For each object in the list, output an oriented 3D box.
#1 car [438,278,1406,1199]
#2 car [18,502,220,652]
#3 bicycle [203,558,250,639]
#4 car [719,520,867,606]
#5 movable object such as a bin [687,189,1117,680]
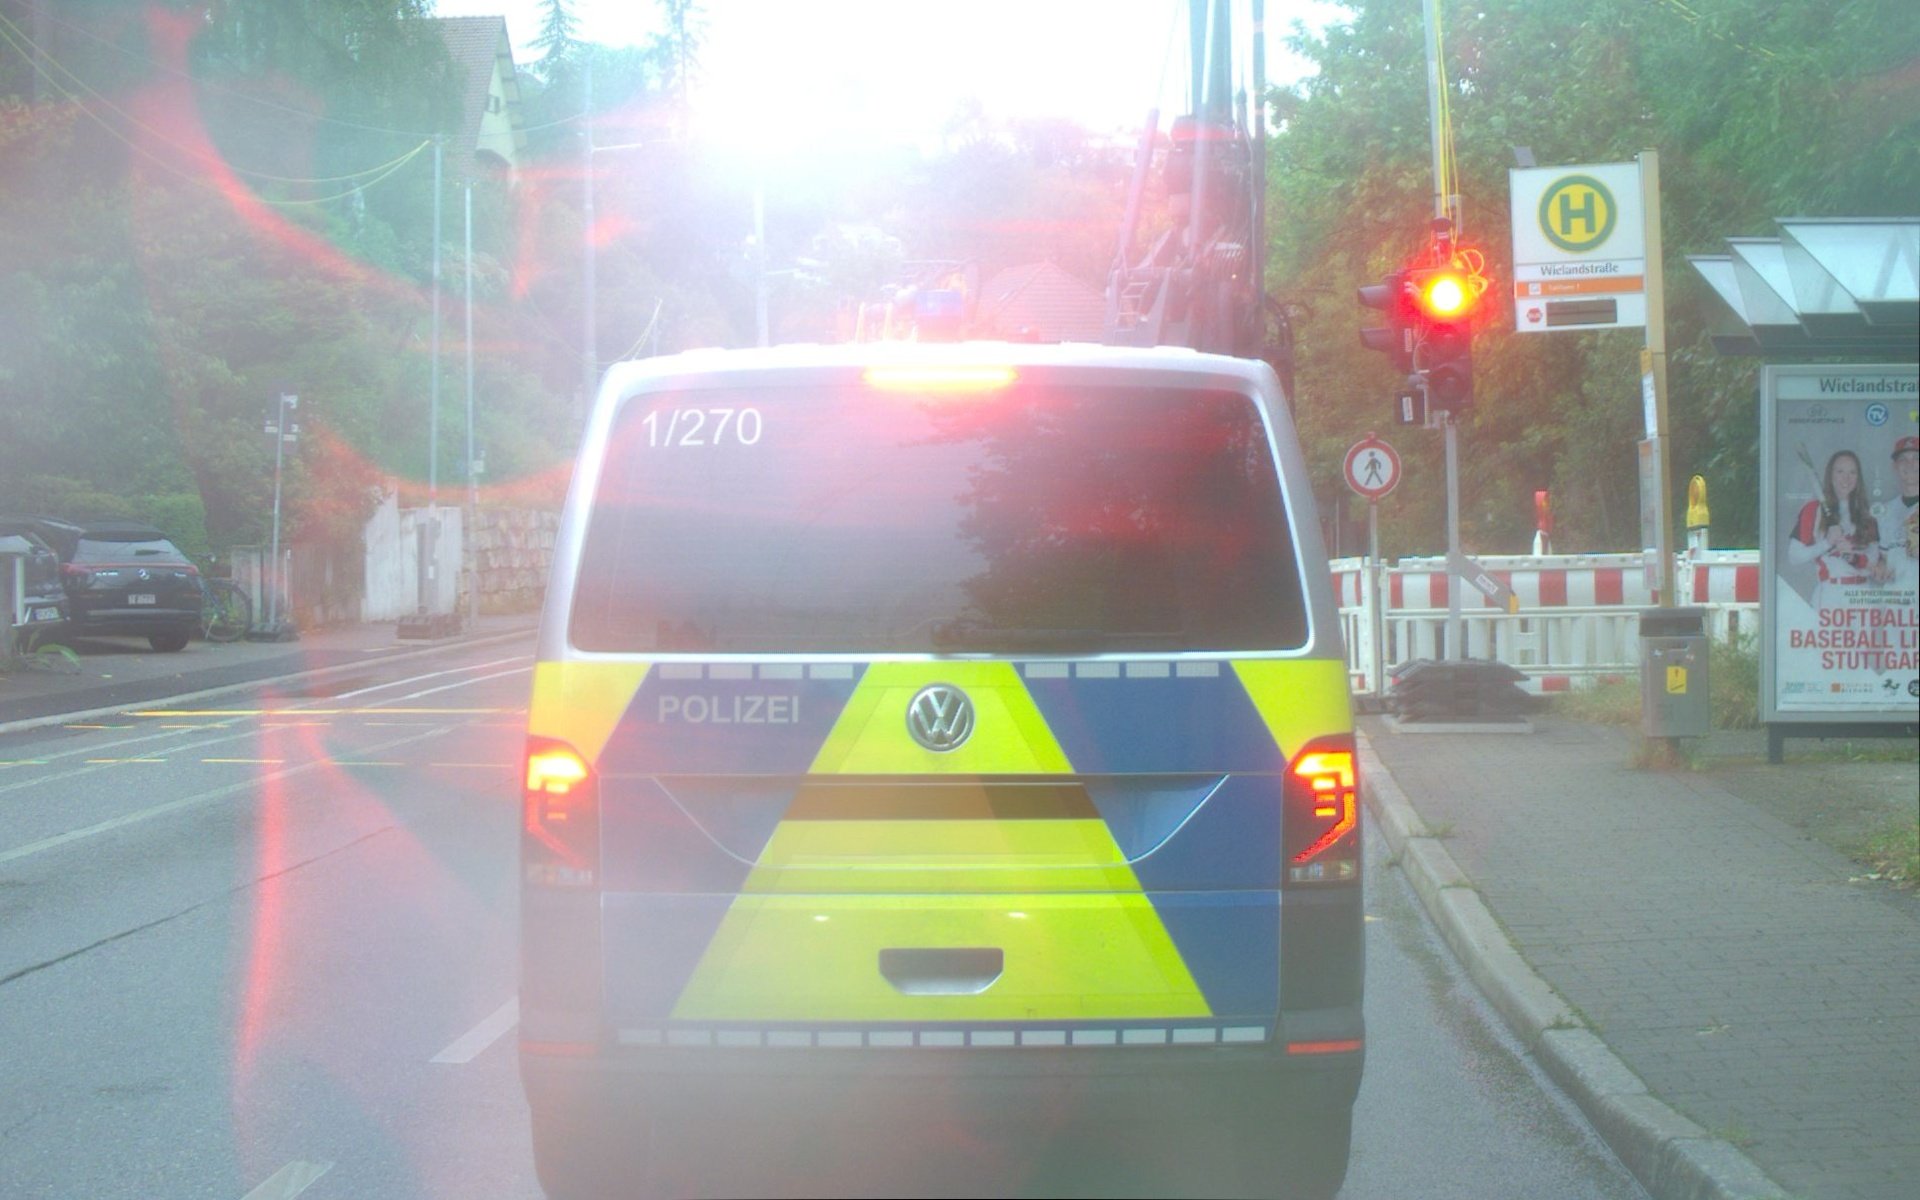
[{"bbox_3d":[-0.101,0.356,8.818,1.893,2.043,4.000,1,1,-1],"label":"car"},{"bbox_3d":[-9.331,-0.285,37.961,1.765,1.481,3.743,1,3,-20],"label":"car"},{"bbox_3d":[-8.449,-0.025,39.578,0.462,0.894,1.634,0,1,-15],"label":"bicycle"},{"bbox_3d":[-3.079,-0.680,64.350,1.853,1.522,4.818,1,1,8],"label":"car"},{"bbox_3d":[-0.428,-1.463,31.617,2.832,4.163,4.378,1,1,15],"label":"movable object such as a bin"}]
